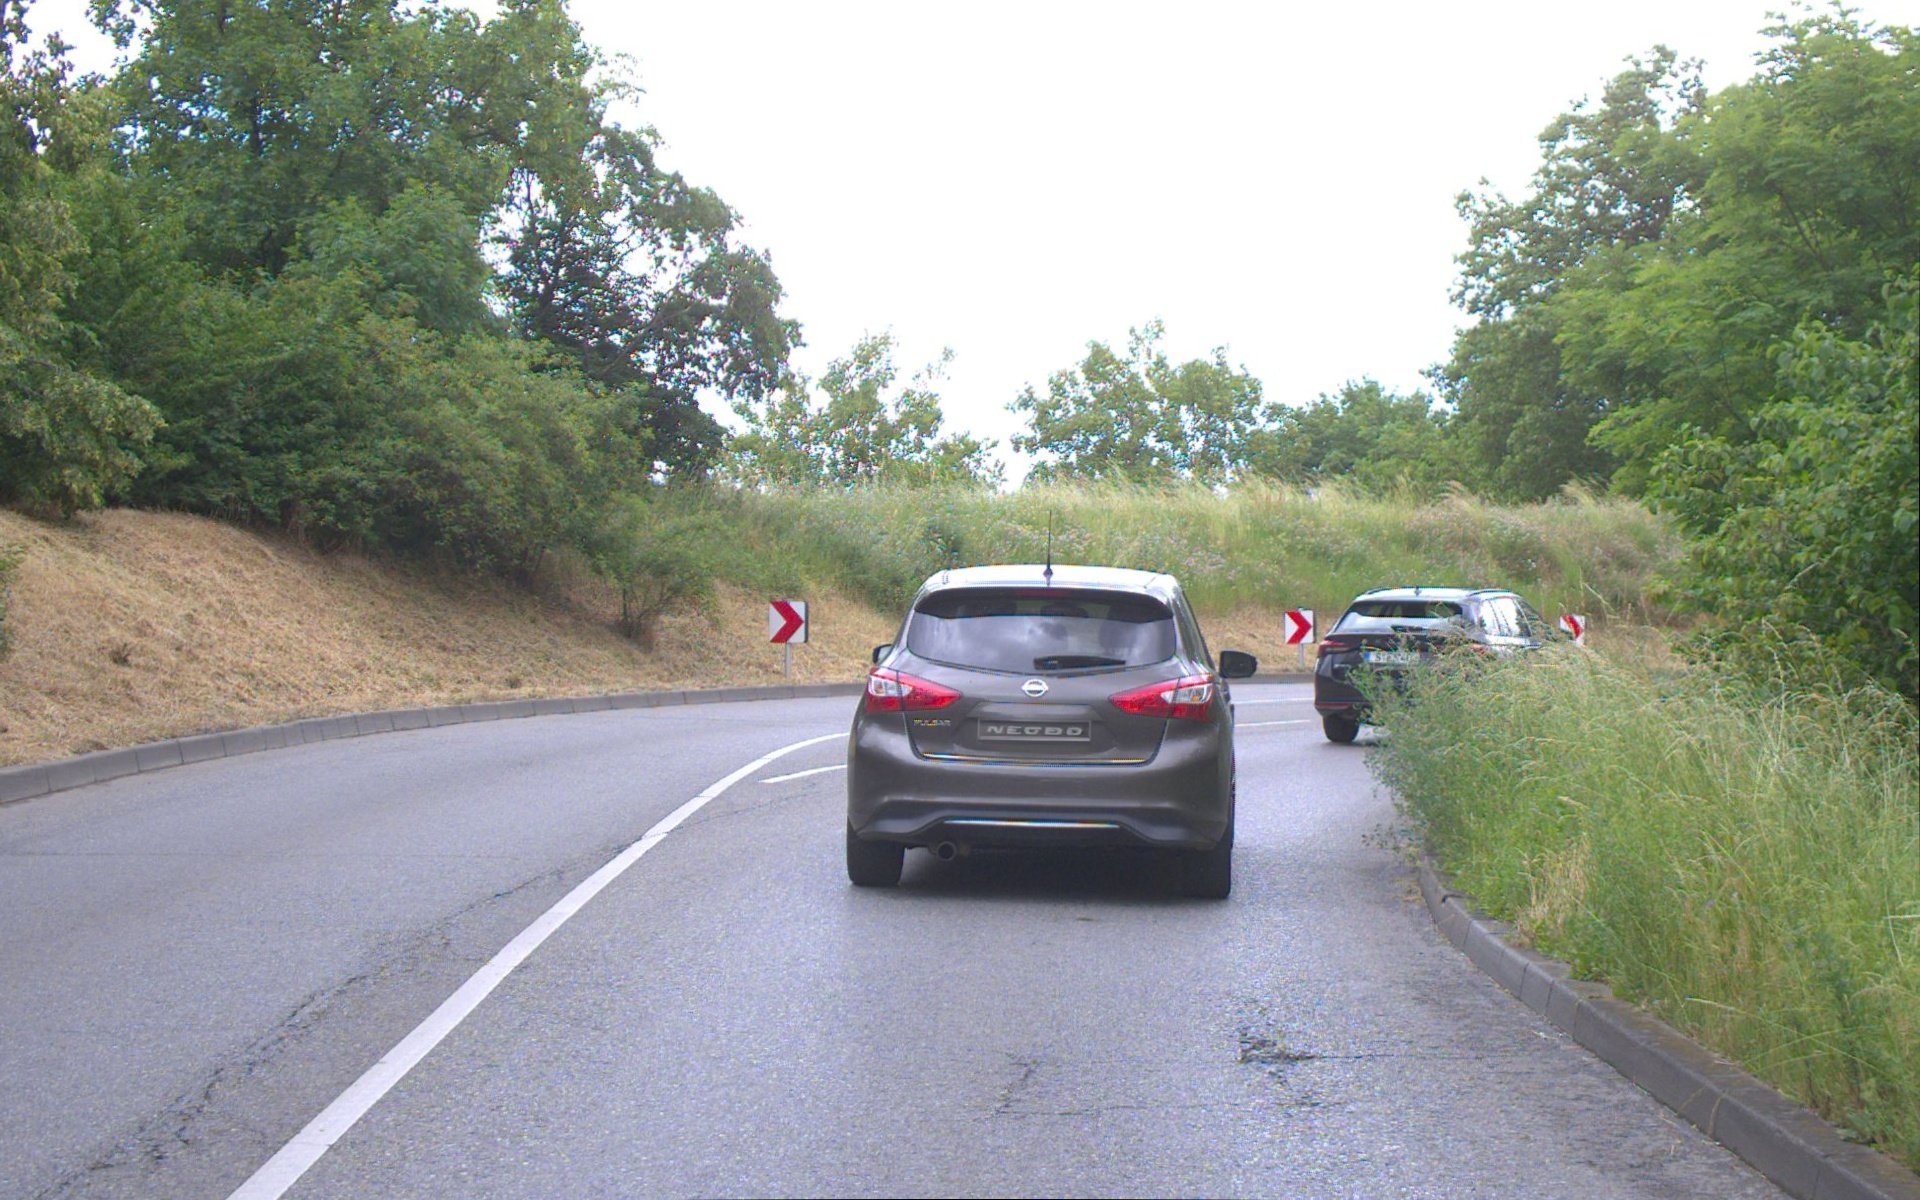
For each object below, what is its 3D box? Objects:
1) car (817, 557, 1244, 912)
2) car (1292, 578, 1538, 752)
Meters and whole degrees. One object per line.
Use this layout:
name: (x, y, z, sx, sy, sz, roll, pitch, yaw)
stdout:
car: (0.462, 0.560, 17.032, 1.845, 1.488, 3.999, 1, 1, 5)
car: (4.374, 0.562, 32.611, 1.901, 1.461, 3.998, 1, 1, 13)
